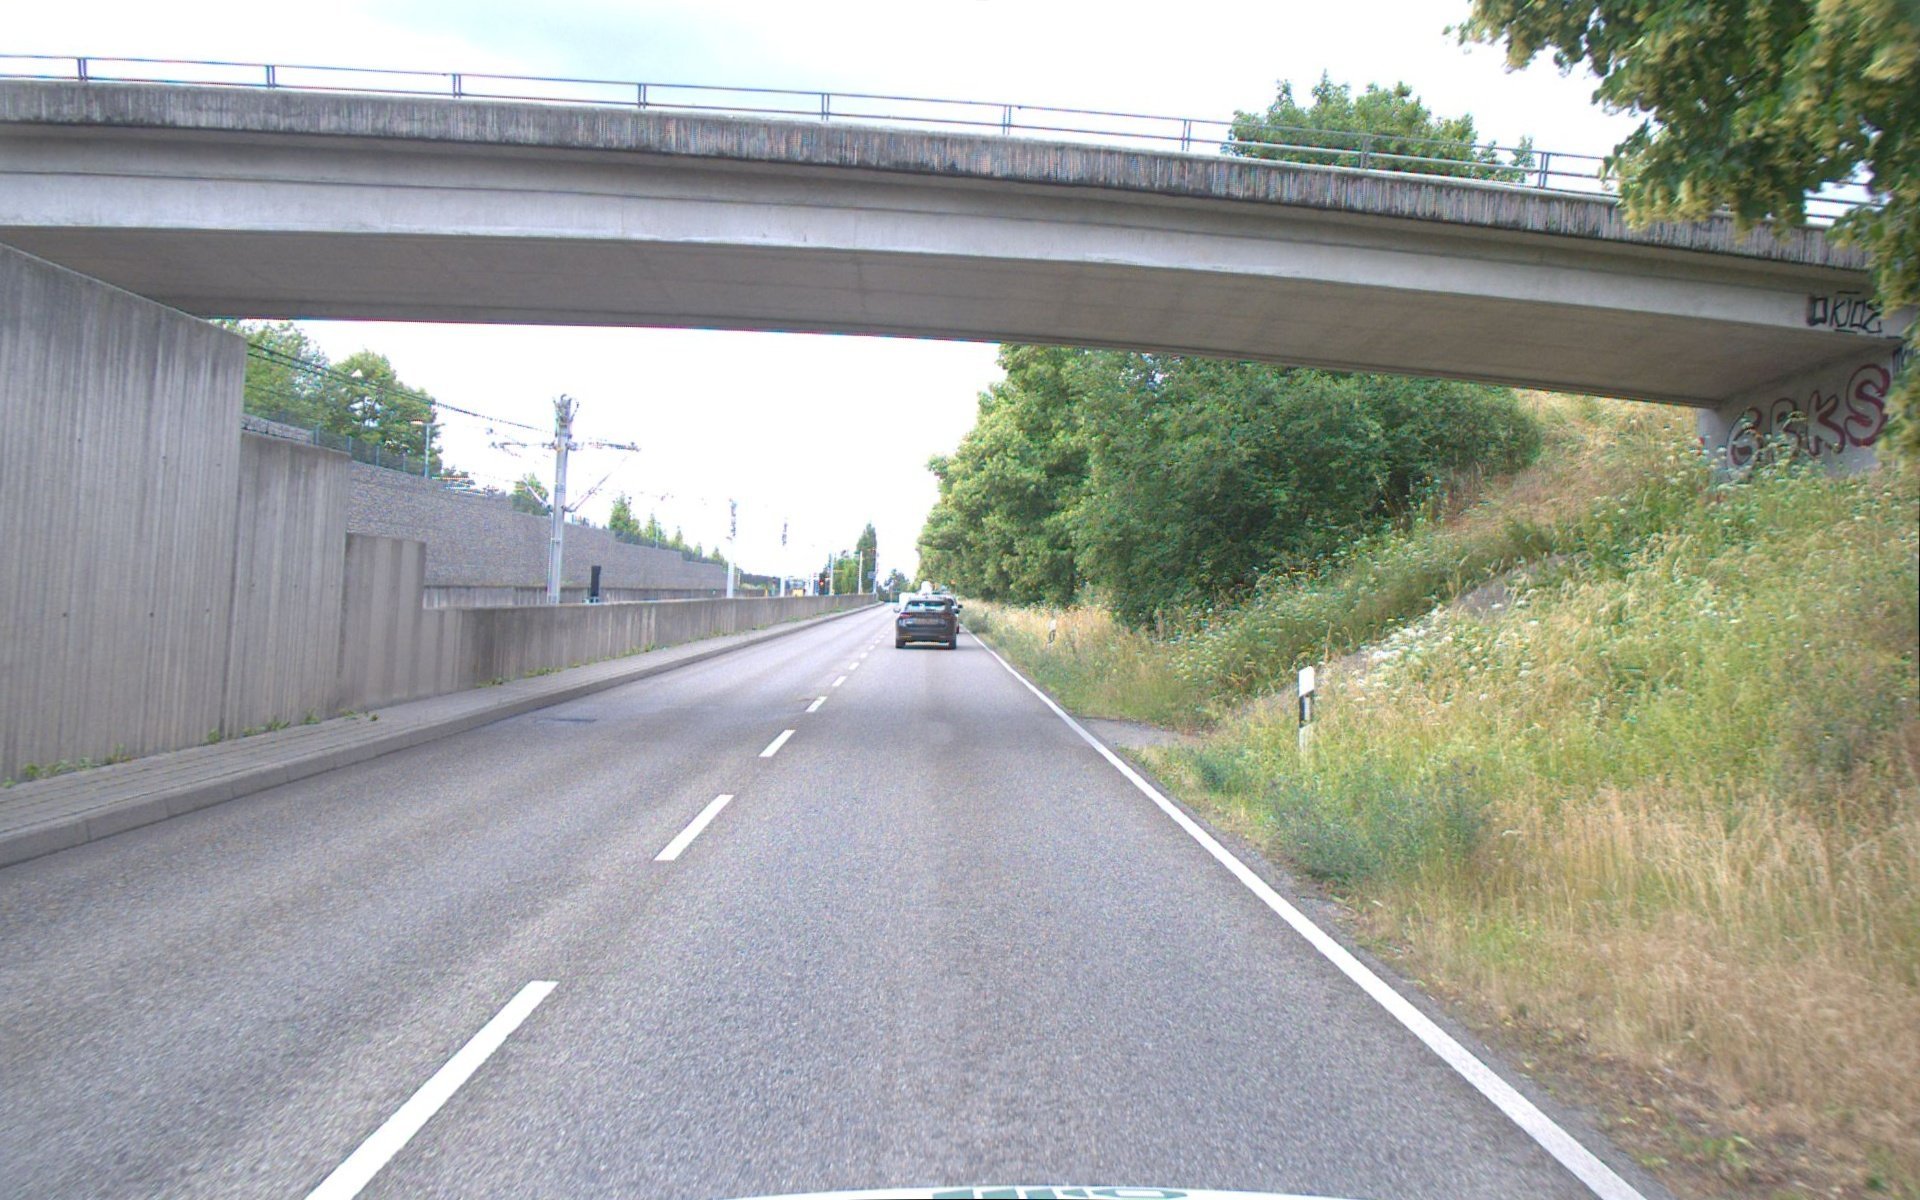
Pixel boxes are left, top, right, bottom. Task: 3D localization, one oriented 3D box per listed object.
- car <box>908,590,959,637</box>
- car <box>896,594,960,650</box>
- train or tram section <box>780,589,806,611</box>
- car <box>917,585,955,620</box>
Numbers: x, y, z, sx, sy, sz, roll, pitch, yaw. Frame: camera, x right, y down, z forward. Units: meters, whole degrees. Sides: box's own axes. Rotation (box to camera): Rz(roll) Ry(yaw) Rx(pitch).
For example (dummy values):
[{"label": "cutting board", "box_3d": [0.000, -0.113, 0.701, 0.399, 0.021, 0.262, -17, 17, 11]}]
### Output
[{"label": "car", "box_3d": [-1.061, 0.512, 65.740, 1.953, 1.783, 3.999, 1, 0, -1]}, {"label": "car", "box_3d": [-0.918, 0.596, 47.519, 1.745, 1.493, 3.999, 1, 0, -1]}, {"label": "train or tram section", "box_3d": [-26.692, 0.050, 263.420, 2.760, 3.172, 18.870, 1, -1, -10]}, {"label": "car", "box_3d": [-1.298, 0.151, 89.118, 1.953, 1.771, 3.999, 1, -1, -1]}]
